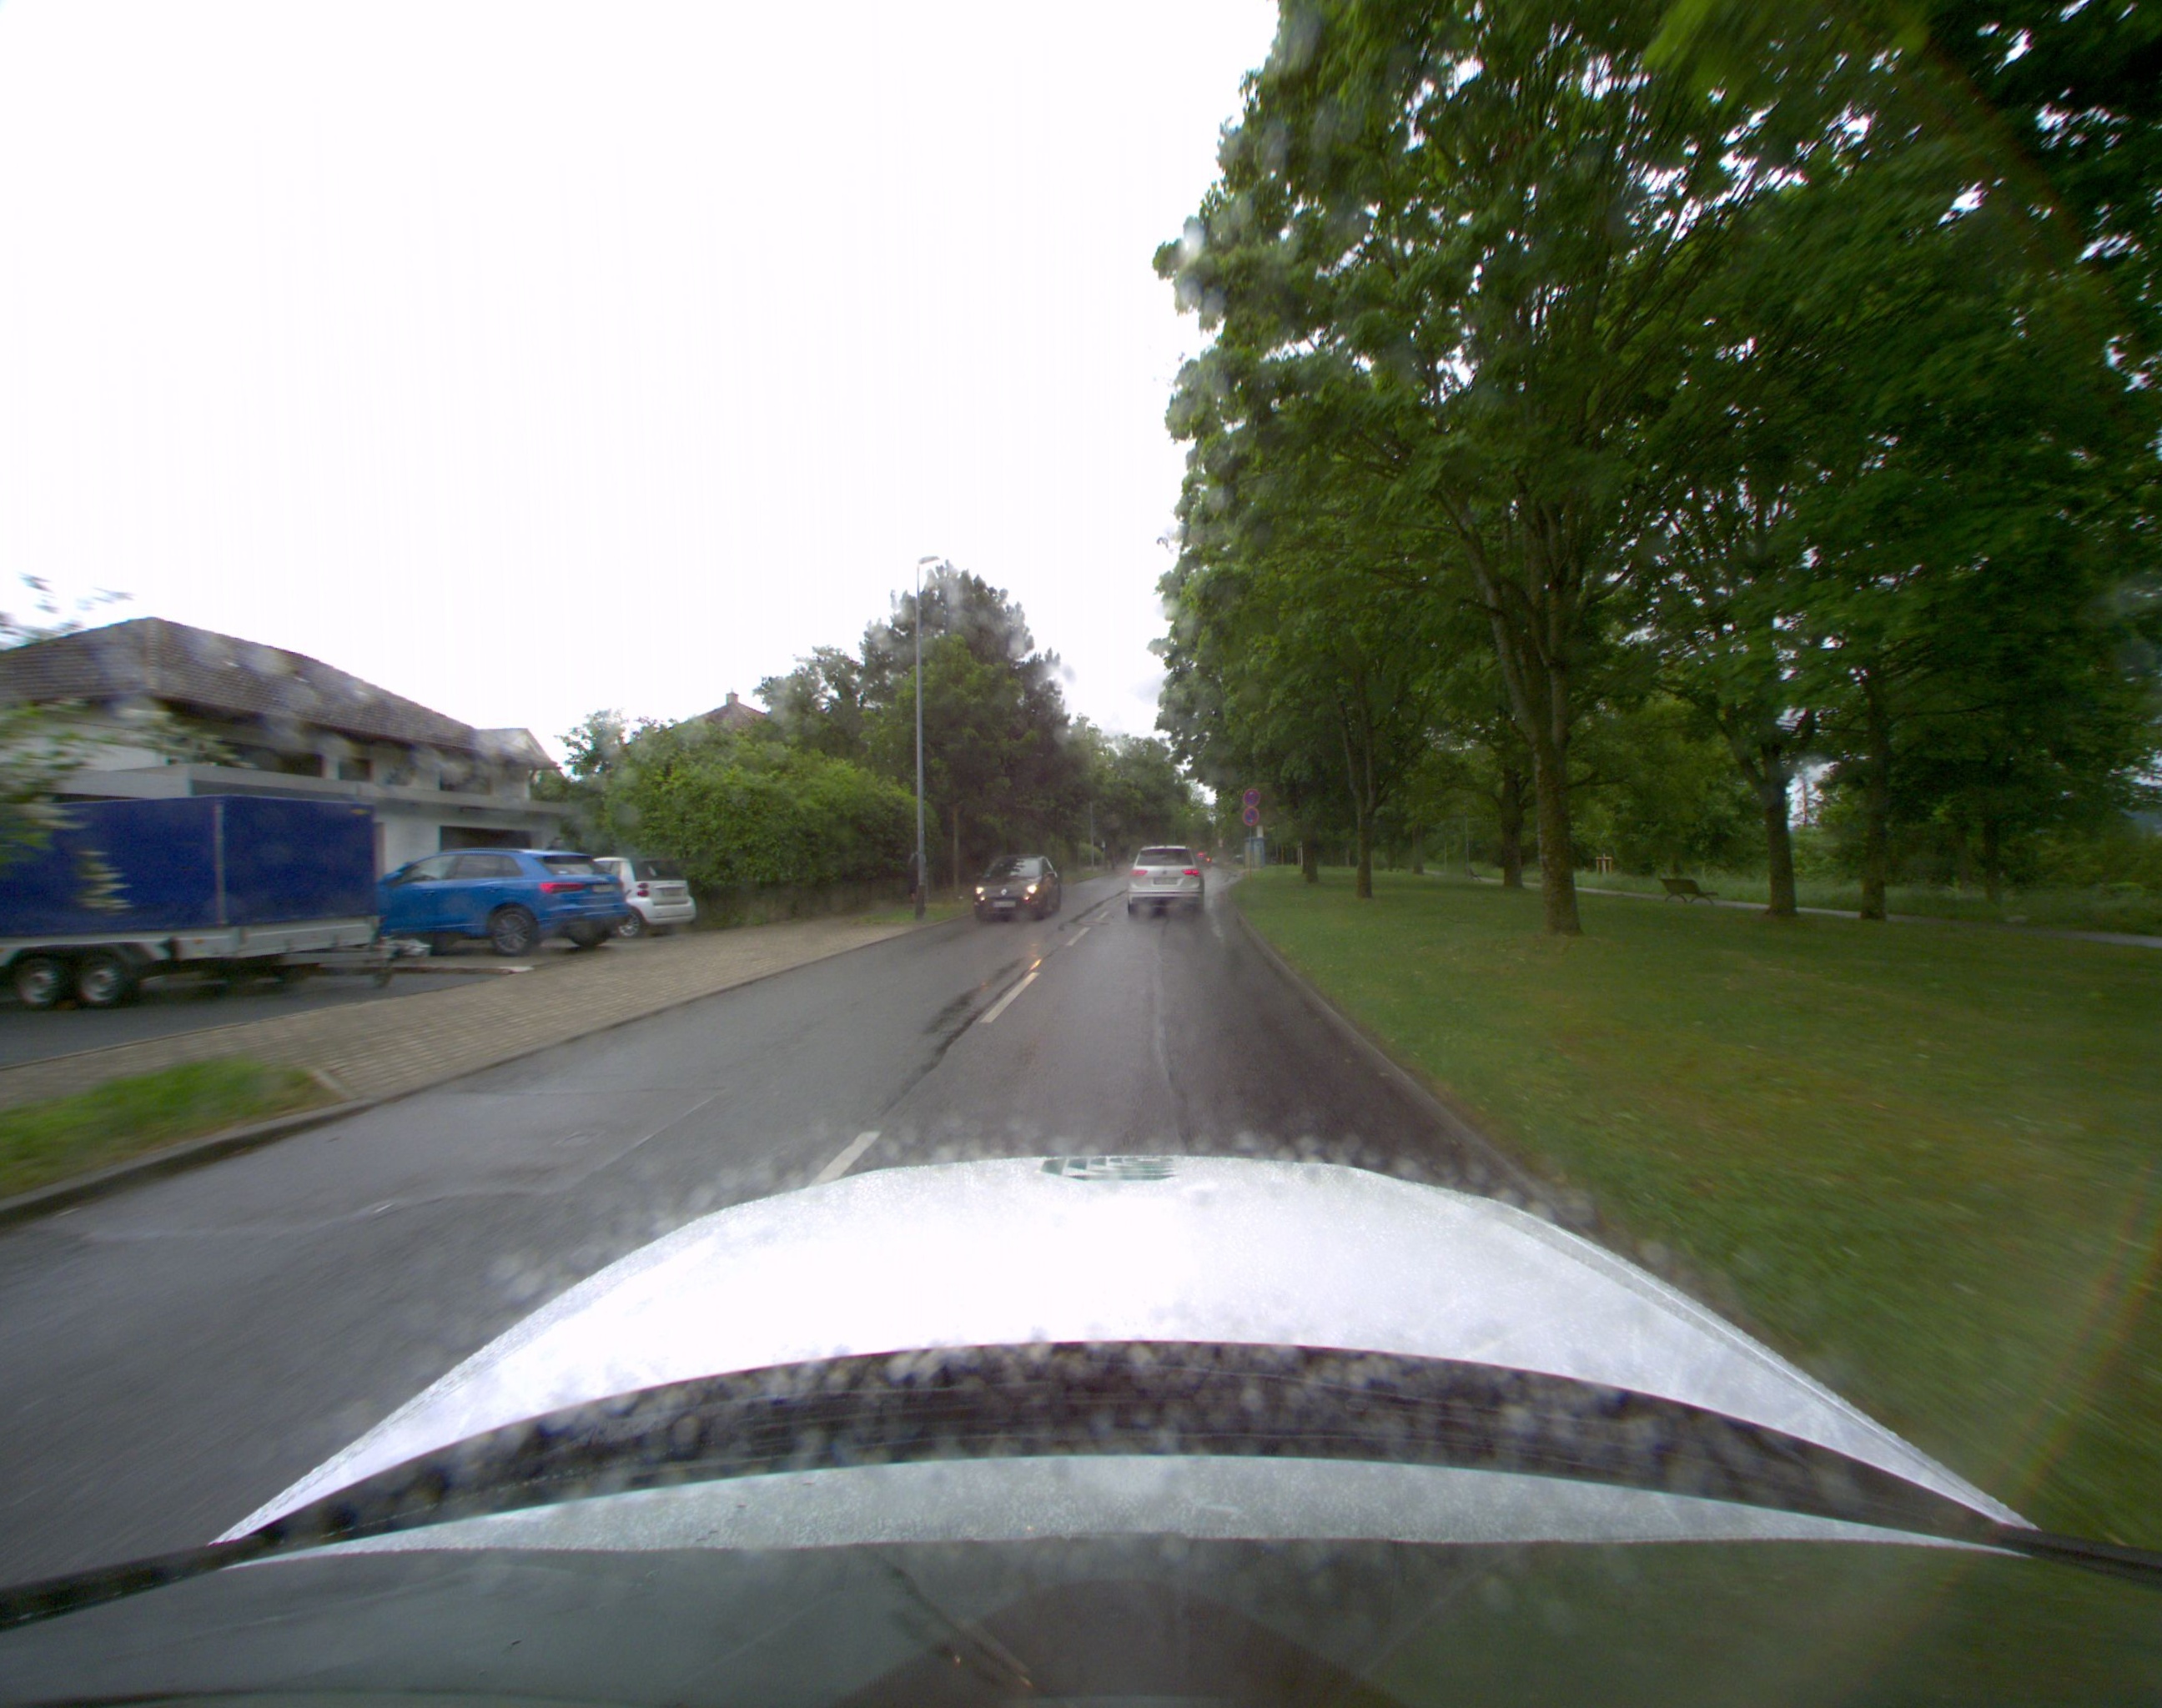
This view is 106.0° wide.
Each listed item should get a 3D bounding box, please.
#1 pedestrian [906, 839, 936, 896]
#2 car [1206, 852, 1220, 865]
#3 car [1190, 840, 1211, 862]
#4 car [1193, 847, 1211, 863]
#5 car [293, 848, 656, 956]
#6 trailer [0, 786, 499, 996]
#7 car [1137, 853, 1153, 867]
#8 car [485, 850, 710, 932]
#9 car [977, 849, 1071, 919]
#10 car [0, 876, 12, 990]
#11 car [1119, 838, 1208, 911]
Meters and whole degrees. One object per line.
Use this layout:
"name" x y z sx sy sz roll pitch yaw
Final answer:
"pedestrian" -4.706 0.388 24.009 0.776 1.661 0.841 -1 0 -7
"car" 20.291 0.720 125.524 1.983 1.805 4.006 0 -1 6
"car" 11.851 -0.248 80.818 1.891 2.014 3.951 0 -1 7
"car" 14.883 0.135 100.312 1.983 1.759 4.006 0 -1 6
"car" -9.337 0.699 12.811 4.219 1.539 2.054 -1 0 4
"trailer" -9.675 0.404 9.442 4.600 2.171 1.817 -1 0 3
"car" 8.642 0.795 109.021 1.983 1.763 4.007 0 -1 6
"car" -9.438 0.693 16.062 3.388 1.519 1.733 -1 0 4
"car" -1.304 0.658 20.061 1.575 1.477 3.903 -2 0 6
"car" -15.503 1.013 9.497 3.832 1.429 1.835 -1 0 4
"car" 2.188 0.454 20.537 1.962 1.653 4.188 -1 0 9
